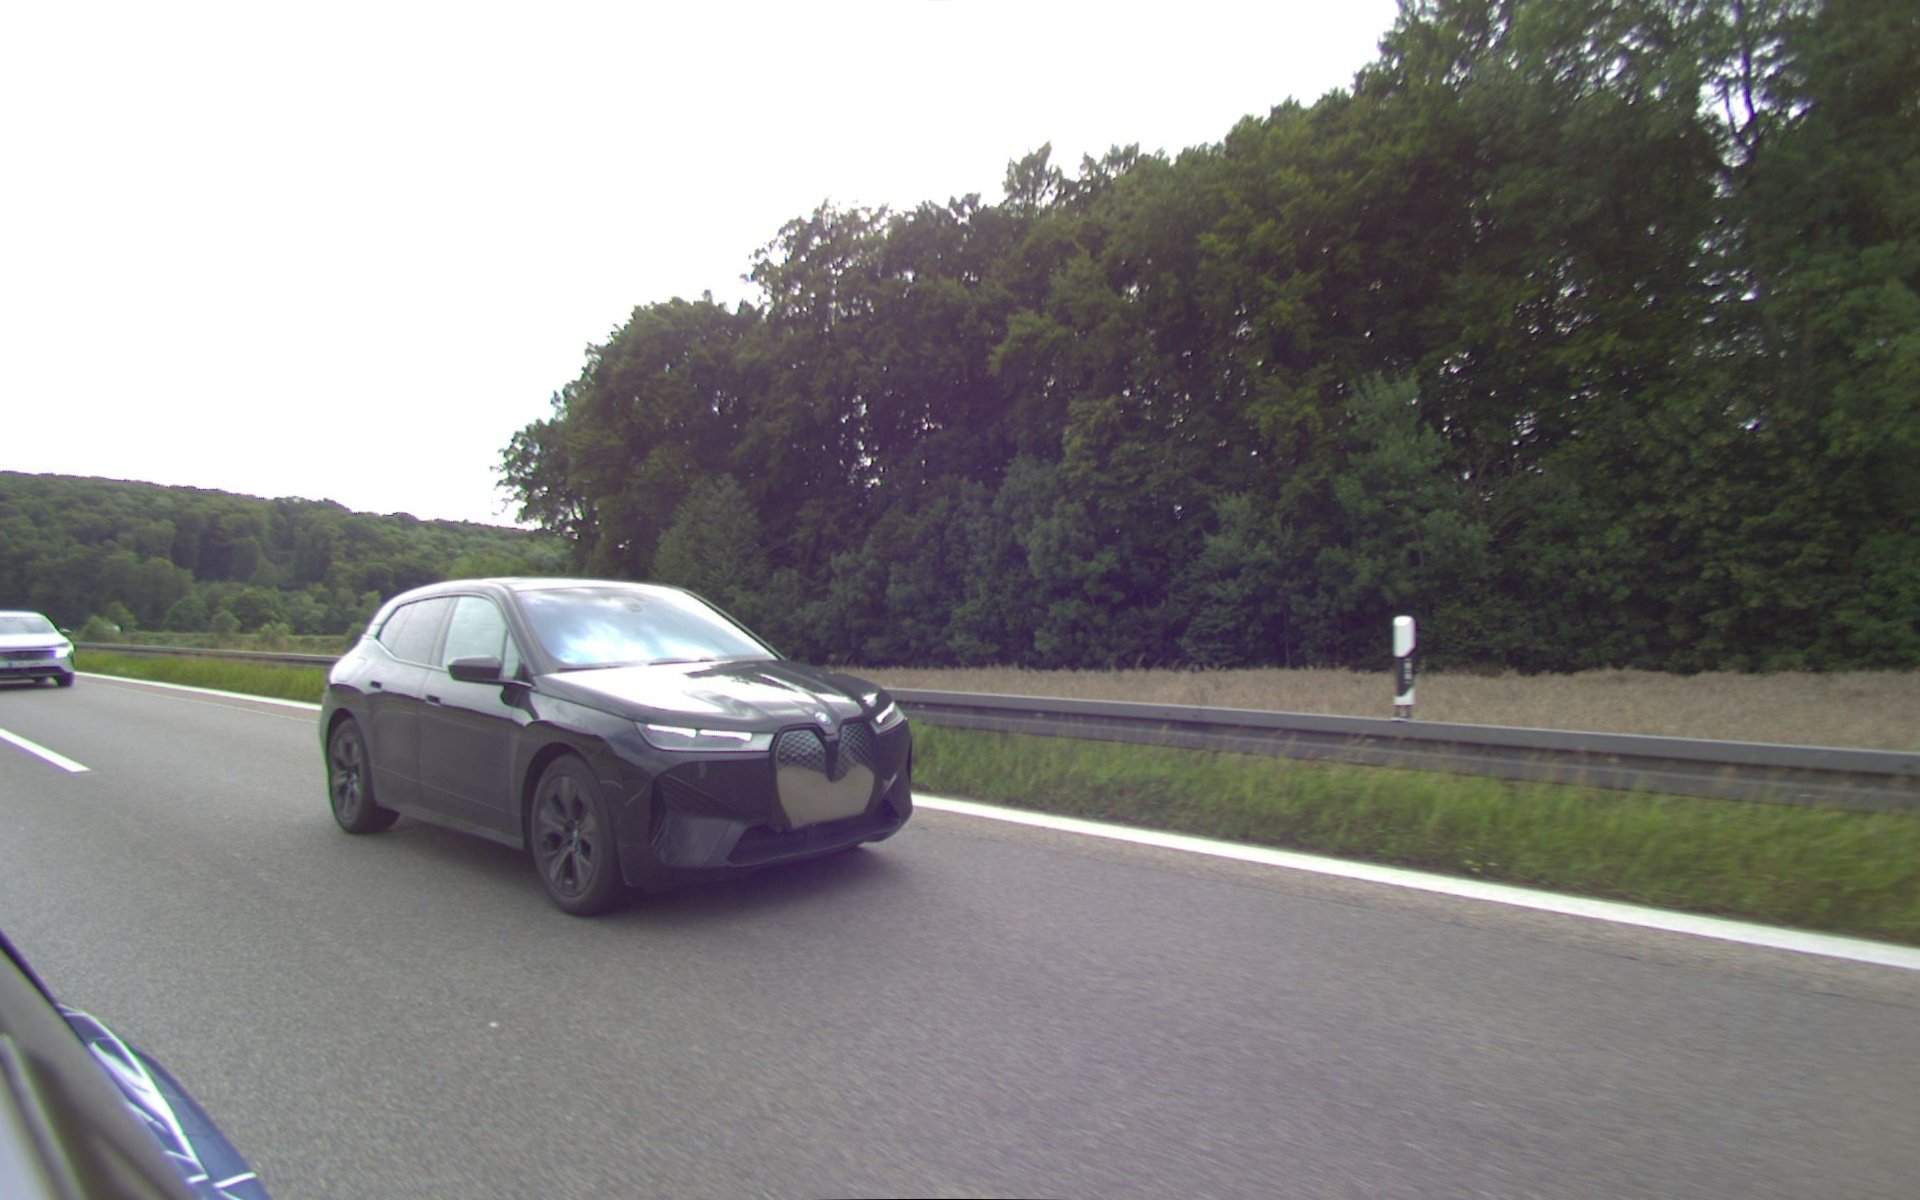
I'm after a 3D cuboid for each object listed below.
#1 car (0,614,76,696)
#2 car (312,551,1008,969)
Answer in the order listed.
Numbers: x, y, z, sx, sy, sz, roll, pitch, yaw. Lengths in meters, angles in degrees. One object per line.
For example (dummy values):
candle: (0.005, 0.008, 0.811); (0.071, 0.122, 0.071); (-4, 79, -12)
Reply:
car: (-21.364, 1.203, 22.513); (4.412, 1.678, 1.973); (-2, 0, 41)
car: (-2.065, 0.699, 6.248); (4.409, 1.678, 1.974); (-2, -2, 39)
